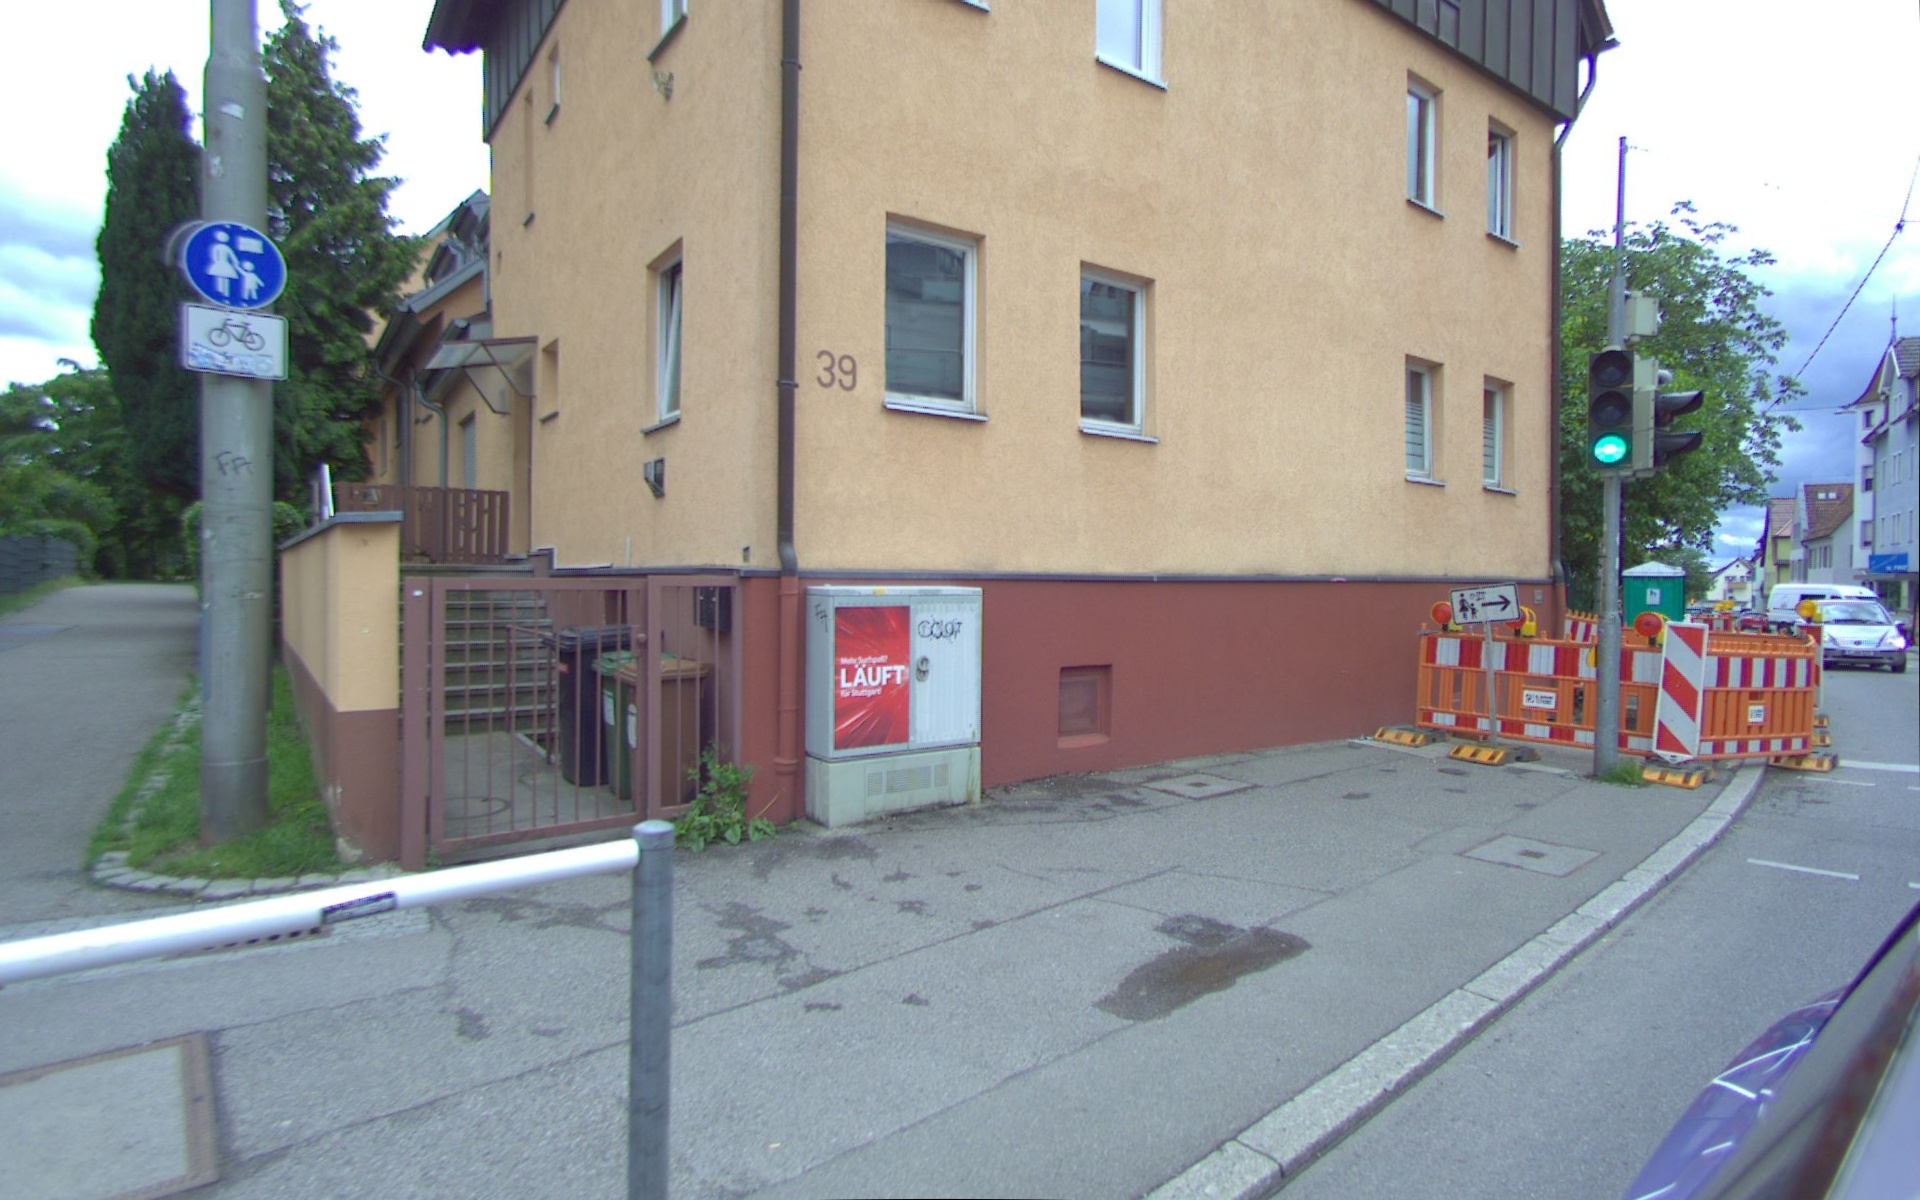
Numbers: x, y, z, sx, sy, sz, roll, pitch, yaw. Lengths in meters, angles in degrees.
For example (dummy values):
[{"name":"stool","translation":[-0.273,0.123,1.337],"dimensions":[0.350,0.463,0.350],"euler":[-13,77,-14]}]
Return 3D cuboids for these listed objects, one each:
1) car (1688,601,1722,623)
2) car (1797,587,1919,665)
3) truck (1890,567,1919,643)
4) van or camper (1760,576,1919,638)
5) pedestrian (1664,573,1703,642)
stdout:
[{"name":"car","translation":[54.769,0.890,74.383],"dimensions":[1.813,1.539,2.895],"euler":[2,1,41]},{"name":"car","translation":[20.795,0.565,23.317],"dimensions":[1.847,1.576,4.299],"euler":[2,1,34]},{"name":"truck","translation":[32.919,0.211,33.208],"dimensions":[2.404,2.497,6.233],"euler":[2,1,33]},{"name":"van or camper","translation":[40.921,0.254,46.928],"dimensions":[2.280,2.640,6.215],"euler":[2,1,-6]},{"name":"pedestrian","translation":[21.263,0.202,29.754],"dimensions":[0.794,1.974,0.827],"euler":[2,0,31]}]
